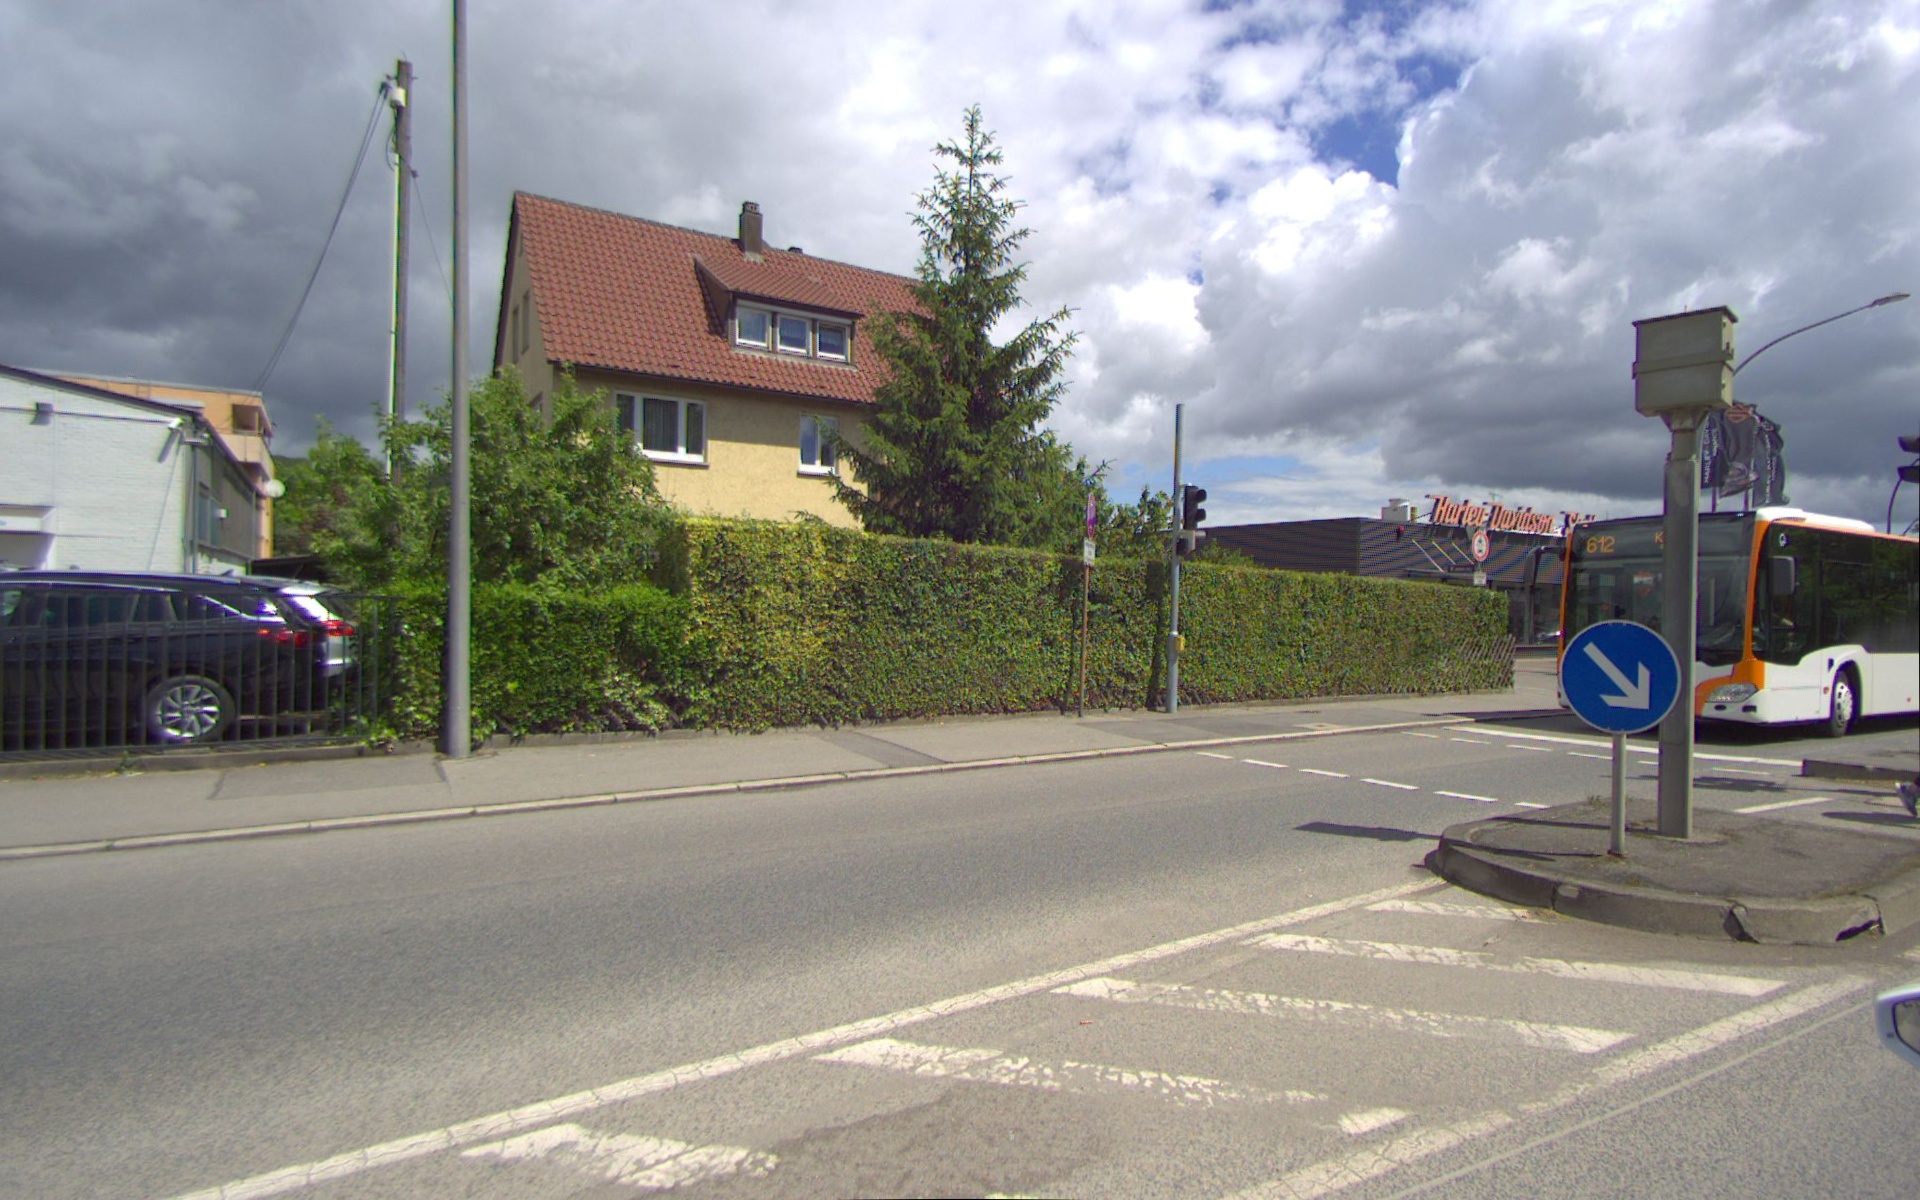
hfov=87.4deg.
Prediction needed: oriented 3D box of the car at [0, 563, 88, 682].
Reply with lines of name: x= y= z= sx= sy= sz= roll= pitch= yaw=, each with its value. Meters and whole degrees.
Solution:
car: x=-17.990 y=0.340 z=17.429 sx=3.953 sy=2.040 sz=1.984 roll=2 pitch=0 yaw=-30

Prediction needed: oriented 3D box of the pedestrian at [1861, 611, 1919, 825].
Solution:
pedestrian: x=7.405 y=0.879 z=7.496 sx=0.726 sy=1.564 sz=0.833 roll=2 pitch=0 yaw=-33

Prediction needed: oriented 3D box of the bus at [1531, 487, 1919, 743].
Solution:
bus: x=14.087 y=0.363 z=16.308 sx=12.123 sy=3.071 sz=2.706 roll=2 pitch=-1 yaw=-31

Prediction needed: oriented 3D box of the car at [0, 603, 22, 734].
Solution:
car: x=-16.714 y=1.034 z=14.705 sx=3.953 sy=2.040 sz=1.984 roll=2 pitch=0 yaw=-30

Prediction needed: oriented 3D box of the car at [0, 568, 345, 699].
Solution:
car: x=-10.728 y=0.429 z=13.635 sx=3.953 sy=1.569 sz=1.984 roll=2 pitch=0 yaw=-30

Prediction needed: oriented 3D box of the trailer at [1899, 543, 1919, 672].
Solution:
trailer: x=37.006 y=0.454 z=36.209 sx=15.429 sy=4.107 sz=2.775 roll=2 pitch=0 yaw=-40

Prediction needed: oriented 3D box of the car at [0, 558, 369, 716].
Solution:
car: x=-9.021 y=0.390 z=11.363 sx=3.953 sy=1.561 sz=1.984 roll=2 pitch=0 yaw=-30

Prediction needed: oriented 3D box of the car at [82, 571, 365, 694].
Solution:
car: x=-13.327 y=0.581 z=18.533 sx=3.953 sy=2.040 sz=1.984 roll=2 pitch=0 yaw=-30

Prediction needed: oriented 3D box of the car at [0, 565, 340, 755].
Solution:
car: x=-7.861 y=0.473 z=8.859 sx=3.997 sy=1.502 sz=1.850 roll=2 pitch=0 yaw=-31

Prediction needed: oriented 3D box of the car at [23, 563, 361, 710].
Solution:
car: x=-11.831 y=0.555 z=15.889 sx=3.953 sy=2.040 sz=1.984 roll=2 pitch=0 yaw=-30

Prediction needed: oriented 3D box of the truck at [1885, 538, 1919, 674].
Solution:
truck: x=31.806 y=0.276 z=31.853 sx=6.448 sy=4.107 sz=2.775 roll=2 pitch=0 yaw=-40
